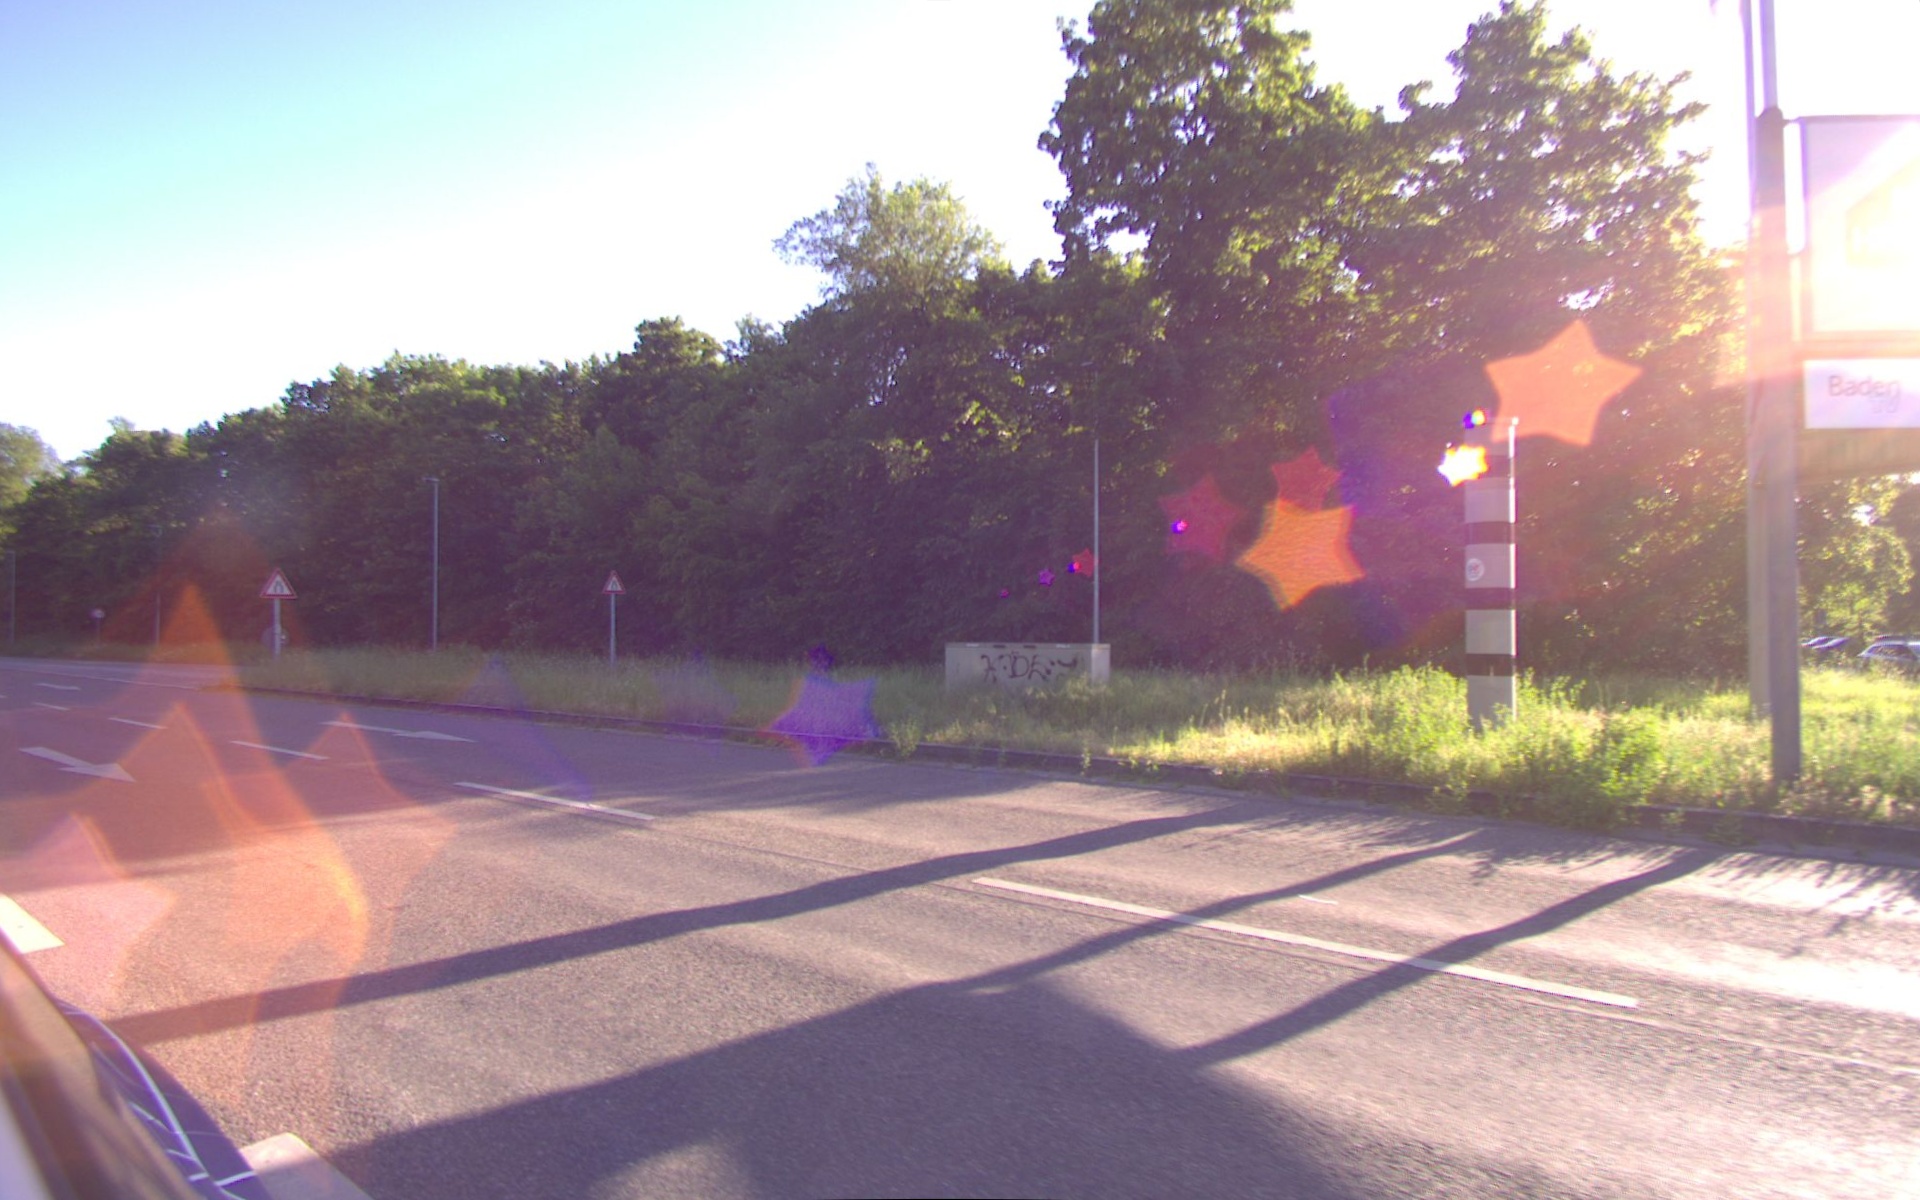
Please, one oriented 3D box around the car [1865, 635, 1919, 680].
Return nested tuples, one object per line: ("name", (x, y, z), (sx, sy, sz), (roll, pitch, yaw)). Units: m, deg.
("car", (31.047, 1.822, 32.051), (1.835, 1.400, 3.785), (-1, -2, 12))
